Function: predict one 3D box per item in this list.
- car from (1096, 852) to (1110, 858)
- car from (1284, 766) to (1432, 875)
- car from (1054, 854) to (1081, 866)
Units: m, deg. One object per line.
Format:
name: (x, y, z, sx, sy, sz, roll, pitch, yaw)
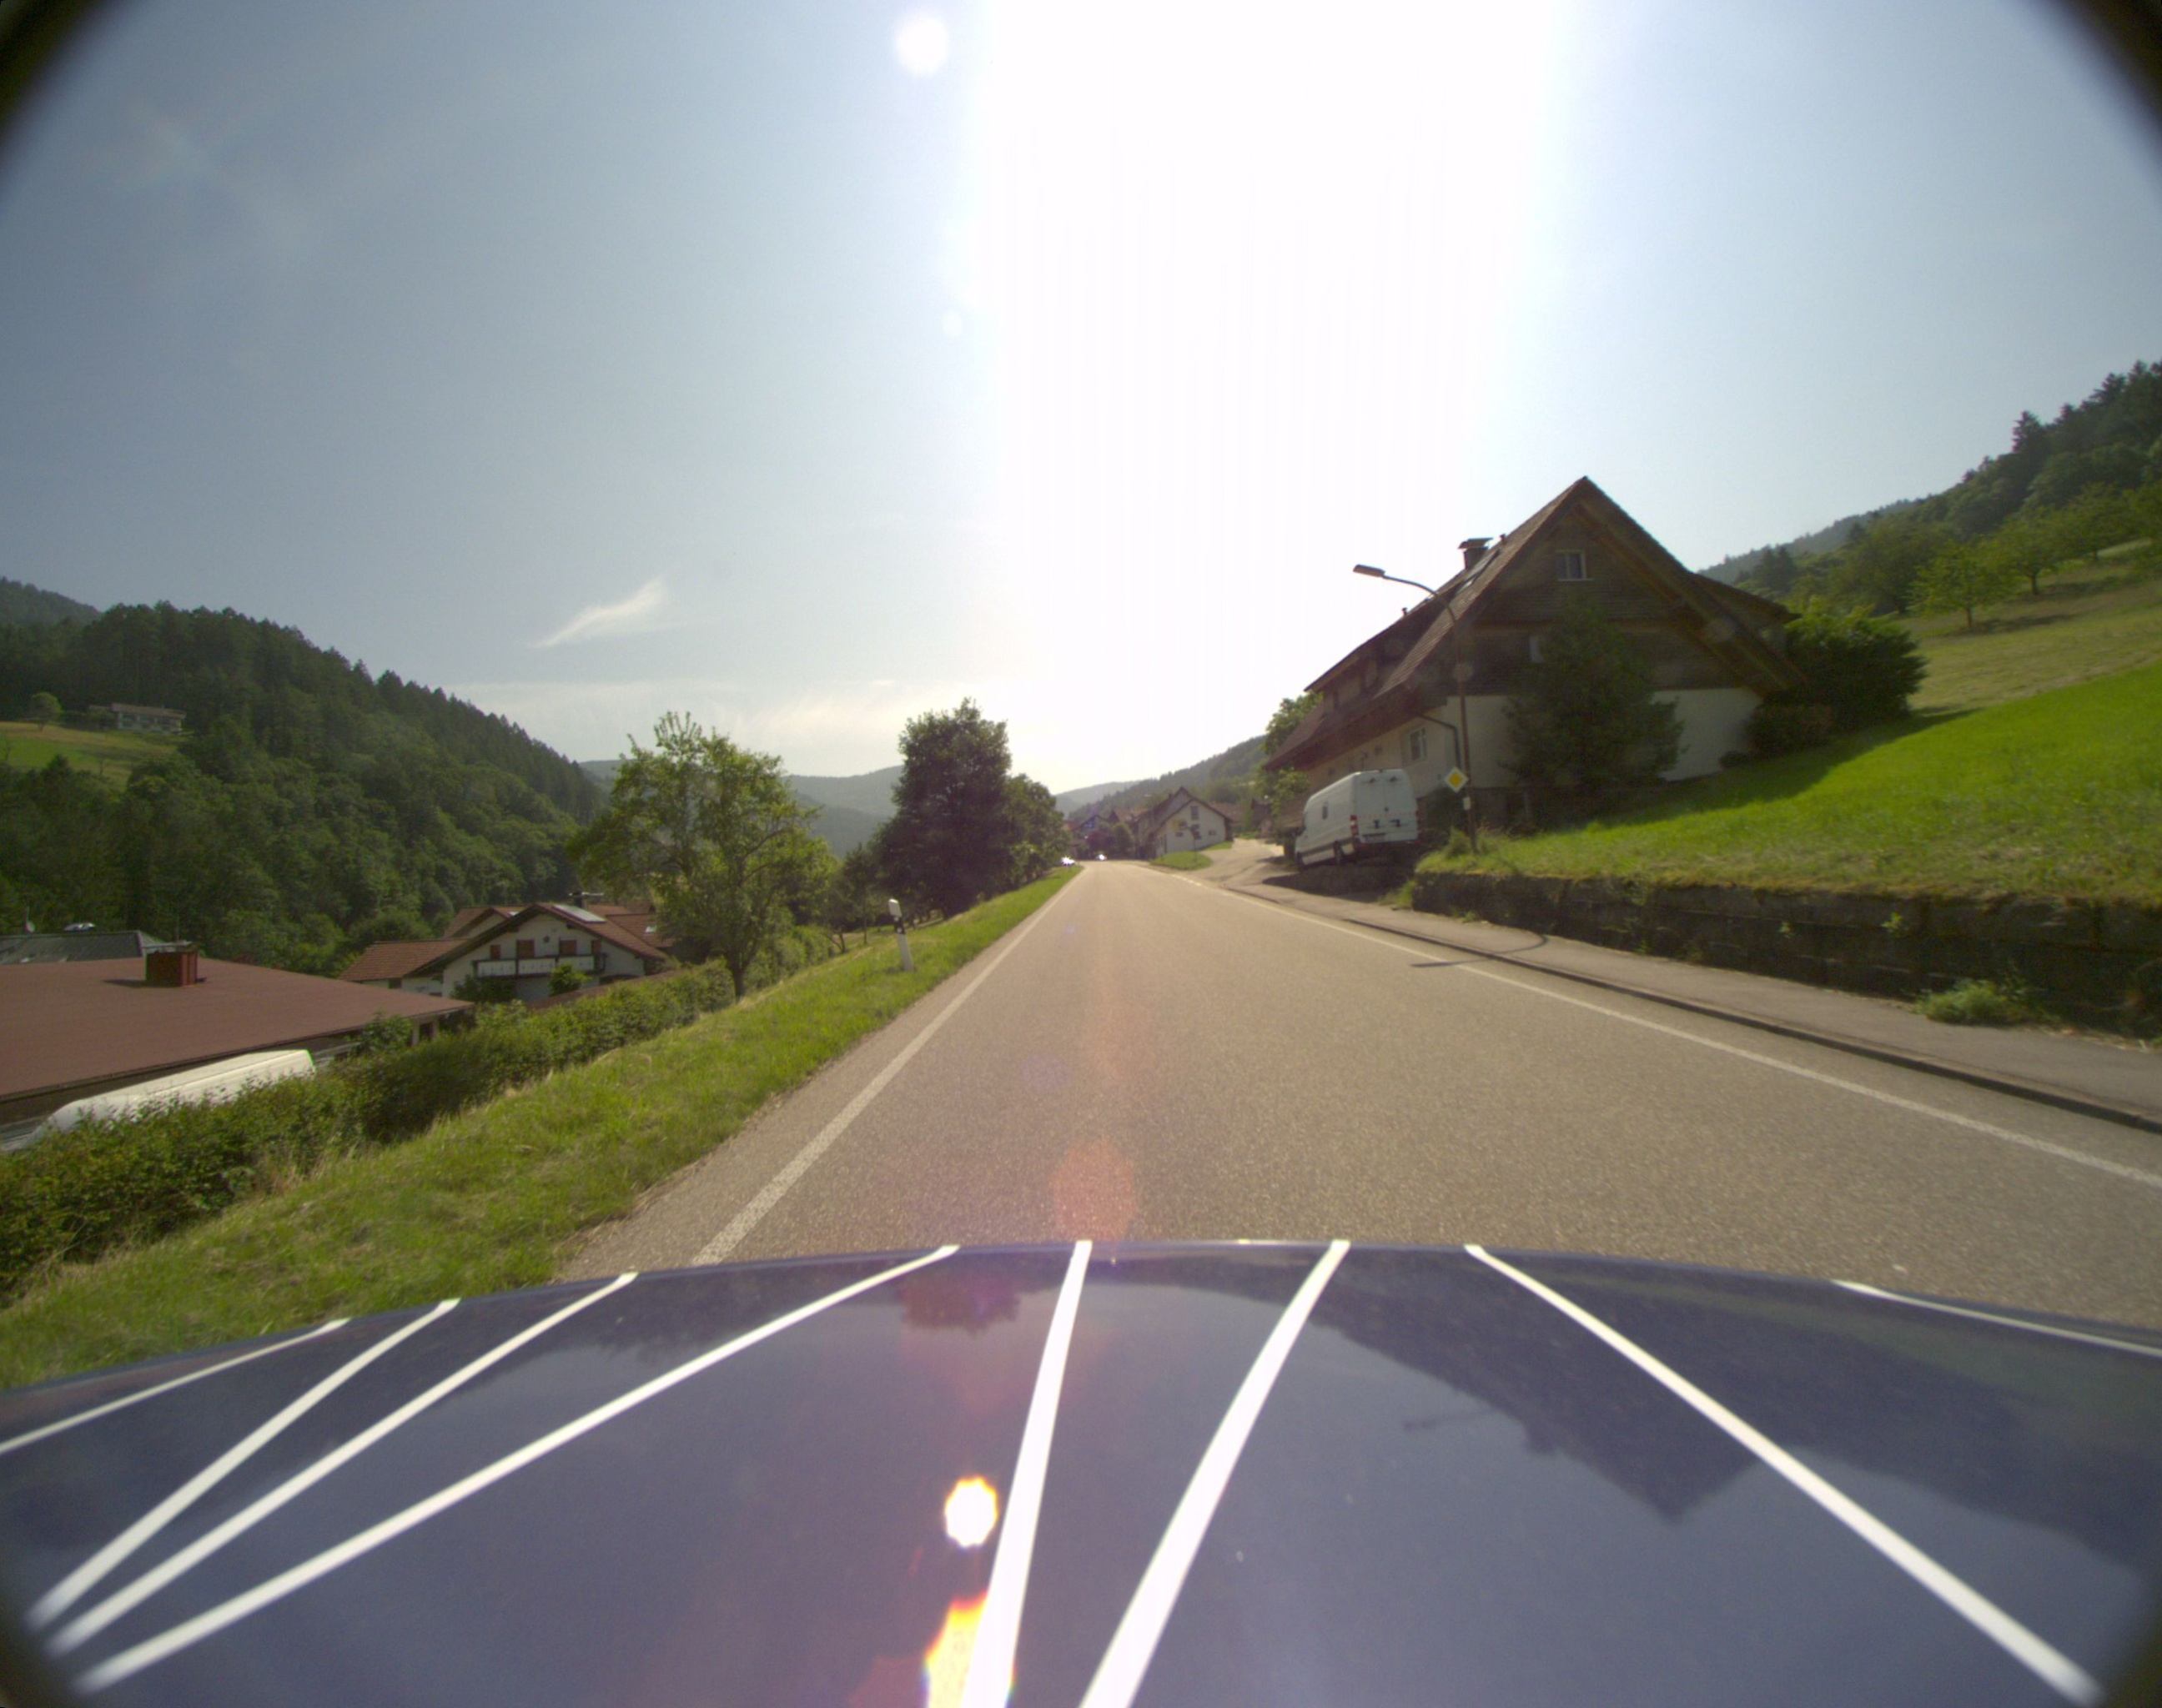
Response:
car: (5.036, 0.269, 174.408, 1.789, 1.331, 4.689, -3, 0, -17)
car: (8.615, -0.835, 24.618, 2.072, 2.671, 7.178, -5, -3, 1)
car: (-2.273, 1.025, 125.748, 1.908, 1.562, 4.452, -8, 1, -44)
